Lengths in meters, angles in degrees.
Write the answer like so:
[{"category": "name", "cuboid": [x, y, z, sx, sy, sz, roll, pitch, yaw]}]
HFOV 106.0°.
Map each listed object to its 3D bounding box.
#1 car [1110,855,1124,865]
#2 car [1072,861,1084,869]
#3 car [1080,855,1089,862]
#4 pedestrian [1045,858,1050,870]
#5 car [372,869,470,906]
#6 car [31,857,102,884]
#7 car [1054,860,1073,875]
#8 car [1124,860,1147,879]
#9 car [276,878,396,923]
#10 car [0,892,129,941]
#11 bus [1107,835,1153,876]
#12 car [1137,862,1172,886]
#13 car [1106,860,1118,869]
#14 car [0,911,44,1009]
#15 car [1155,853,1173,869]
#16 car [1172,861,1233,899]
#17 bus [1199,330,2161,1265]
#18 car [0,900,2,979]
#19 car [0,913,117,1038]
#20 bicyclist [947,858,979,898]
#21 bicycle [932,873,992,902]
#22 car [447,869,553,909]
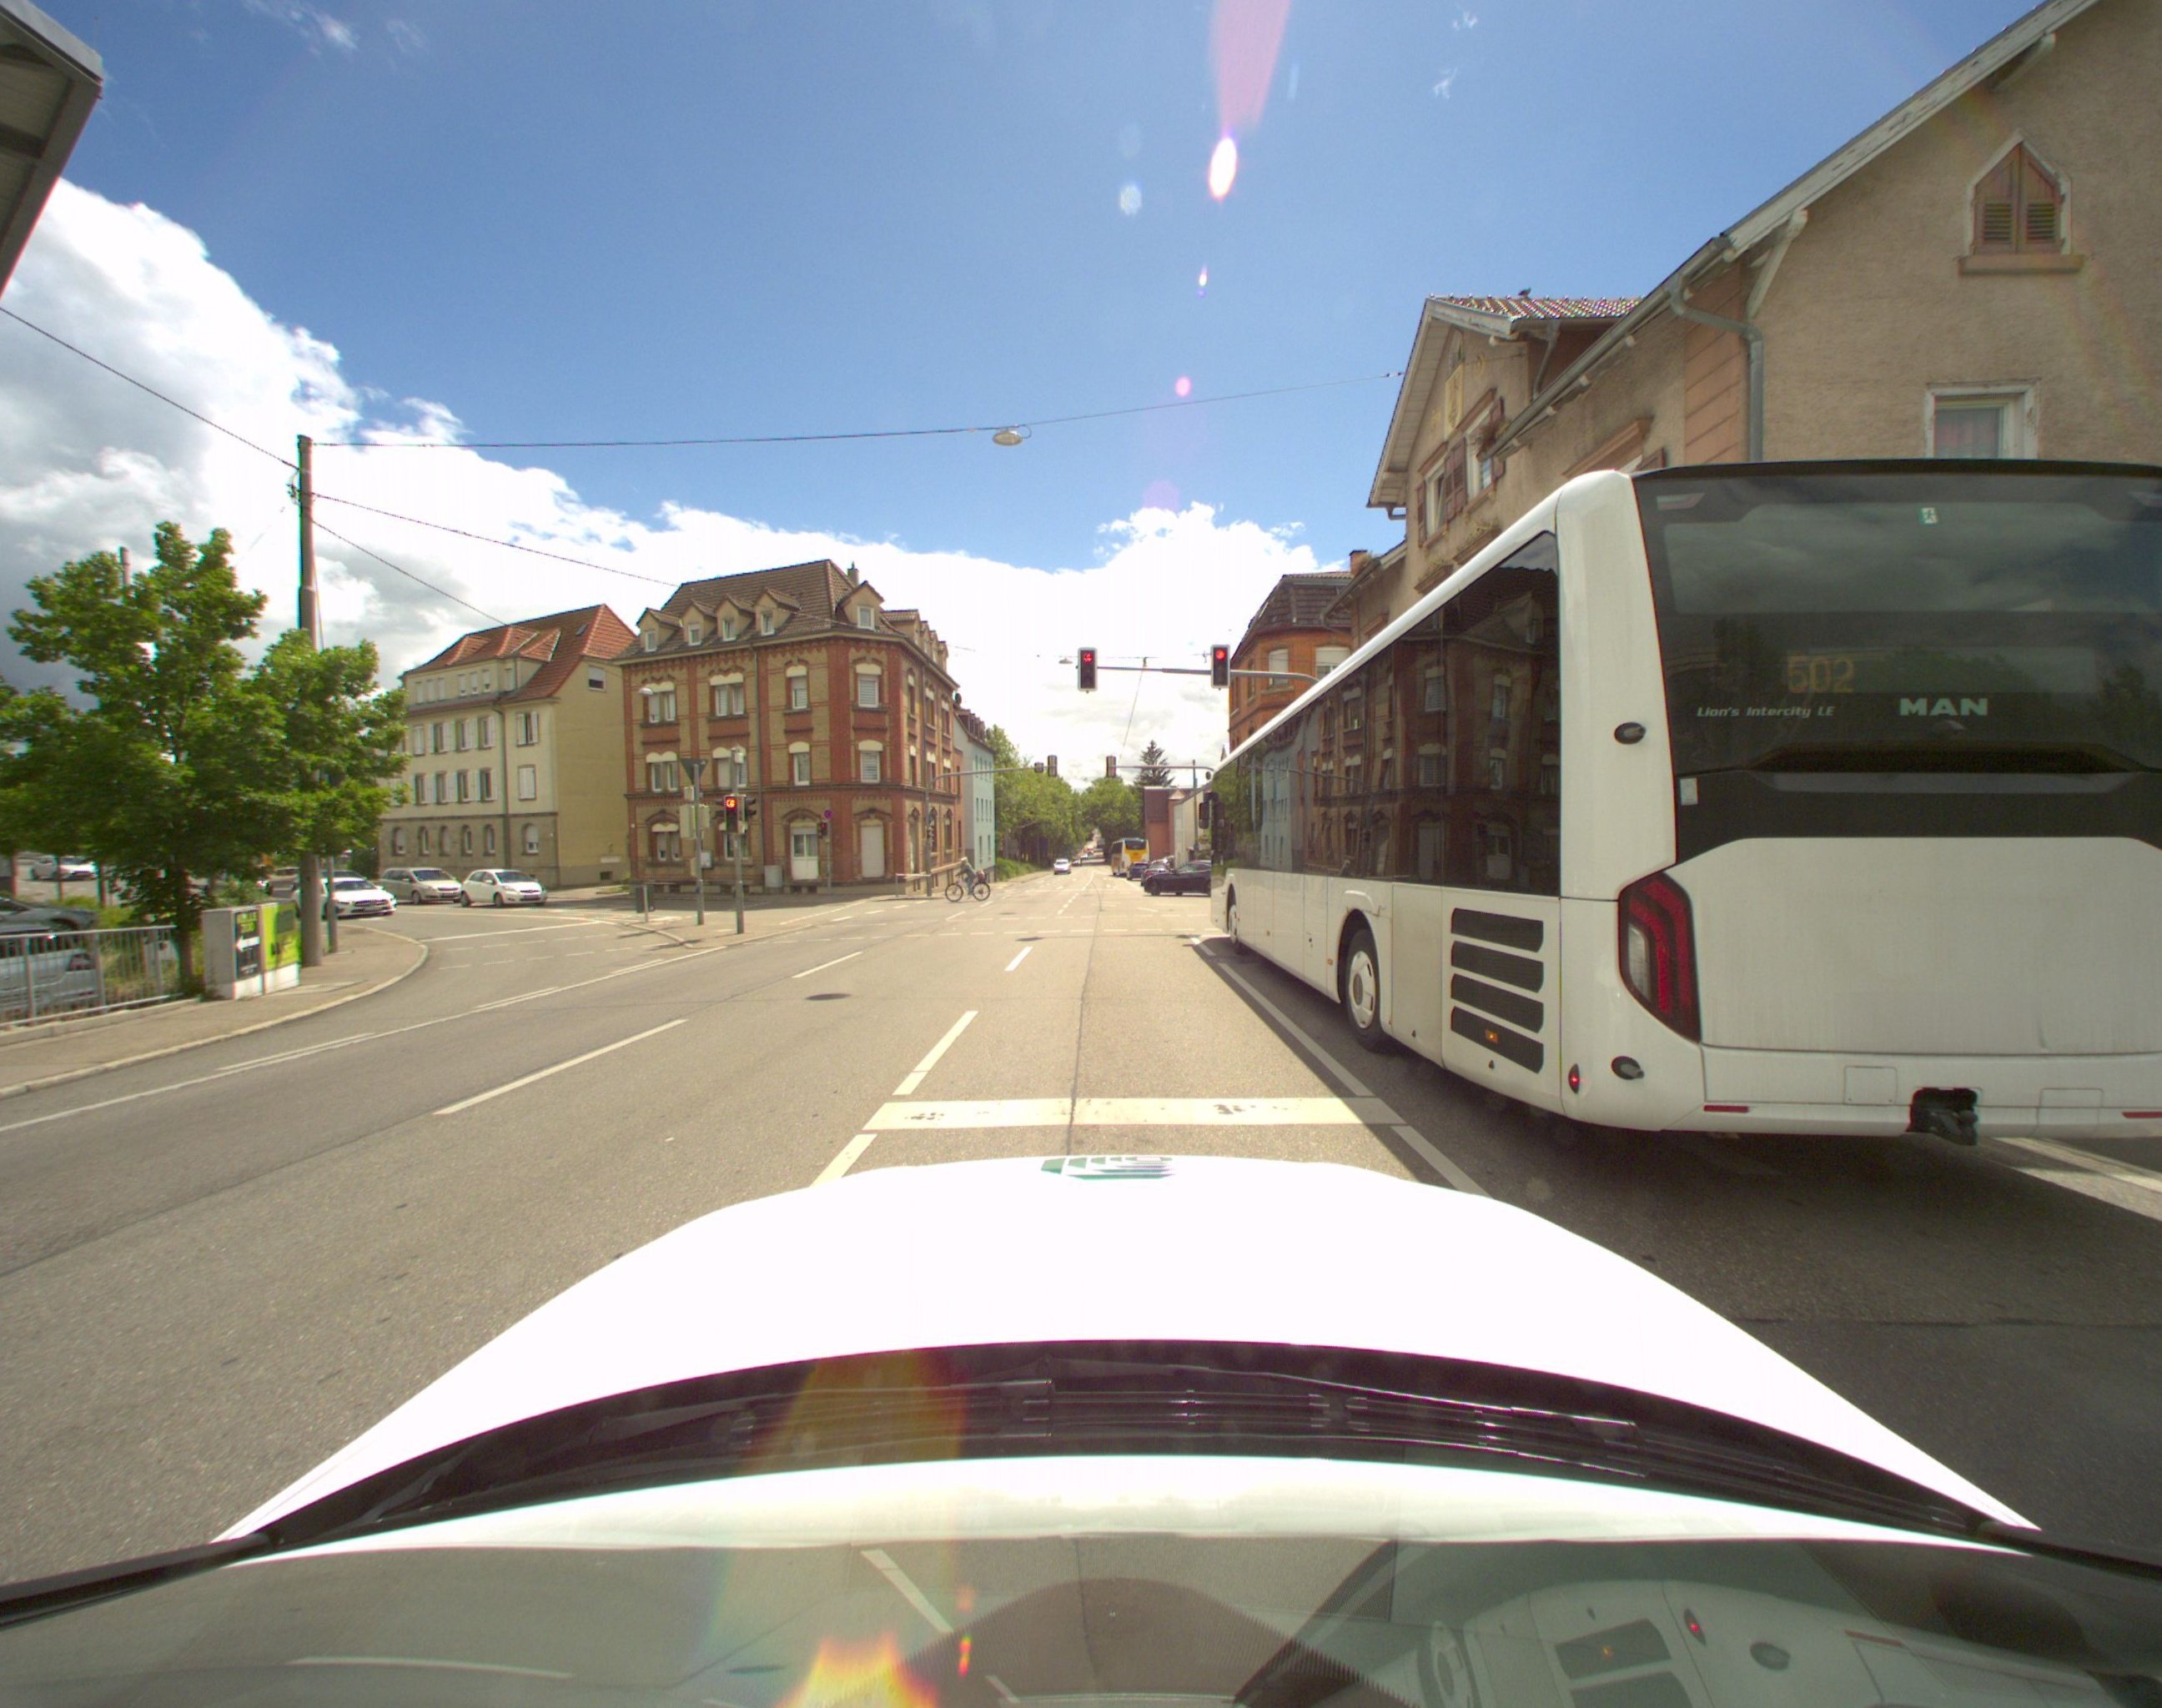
[{"category": "car", "cuboid": [5.746, 0.984, 129.458, 1.874, 1.492, 3.998, -2, 0, -1]}, {"category": "car", "cuboid": [-0.543, 1.977, 145.416, 1.858, 1.367, 4.549, -2, 0, 2]}, {"category": "car", "cuboid": [0.894, 1.048, 206.325, 2.199, 1.613, 4.549, -2, 0, 2]}, {"category": "pedestrian", "cuboid": [-5.123, 1.513, 124.137, 0.604, 1.758, 0.653, -2, 0, 0]}, {"category": "car", "cuboid": [-29.207, 1.472, 36.050, 3.951, 1.519, 1.757, -1, 0, 24]}, {"category": "car", "cuboid": [-63.593, 1.011, 51.047, 4.291, 1.586, 2.012, -1, 0, 29]}, {"category": "car", "cuboid": [-2.015, 1.548, 95.566, 1.928, 1.563, 4.390, -2, 0, 2]}, {"category": "car", "cuboid": [4.203, 1.156, 63.486, 1.603, 1.376, 4.002, -2, 0, 2]}, {"category": "car", "cuboid": [-27.291, 1.685, 29.832, 4.335, 1.447, 1.874, -2, 0, 28]}, {"category": "car", "cuboid": [-29.253, 1.735, 22.216, 1.795, 1.186, 4.025, -1, 0, 31]}, {"category": "bus", "cuboid": [4.679, 0.142, 80.009, 3.292, 3.631, 11.233, -2, 0, -2]}, {"category": "car", "cuboid": [4.512, 1.211, 50.604, 1.858, 1.367, 4.549, -2, 0, 2]}, {"category": "car", "cuboid": [5.618, 1.918, 146.477, 1.874, 1.492, 3.998, -2, 0, -1]}, {"category": "car", "cuboid": [-19.712, 1.837, 14.154, 3.744, 1.523, 1.526, -1, 0, 30]}, {"category": "car", "cuboid": [9.458, 0.768, 93.264, 1.760, 1.665, 4.002, -2, 0, 2]}, {"category": "car", "cuboid": [4.562, 0.956, 31.071, 1.791, 1.276, 4.002, -2, 0, 2]}, {"category": "bus", "cuboid": [3.510, -0.172, 9.307, 2.893, 3.510, 12.492, 0, 0, 2]}, {"category": "car", "cuboid": [-23.404, 1.741, 16.433, 3.371, 1.575, 1.526, -1, 0, 30]}, {"category": "car", "cuboid": [-16.116, 1.745, 12.184, 3.638, 1.575, 1.766, -1, -2, 34]}, {"category": "bicyclist", "cuboid": [-4.603, 0.932, 31.723, 1.065, 1.499, 0.592, -2, 0, 10]}, {"category": "bicycle", "cuboid": [-4.628, 1.300, 31.726, 2.172, 1.019, 0.608, -2, 0, 9]}, {"category": "car", "cuboid": [-23.599, 1.394, 33.063, 3.951, 1.497, 1.711, -1, 0, 24]}]
